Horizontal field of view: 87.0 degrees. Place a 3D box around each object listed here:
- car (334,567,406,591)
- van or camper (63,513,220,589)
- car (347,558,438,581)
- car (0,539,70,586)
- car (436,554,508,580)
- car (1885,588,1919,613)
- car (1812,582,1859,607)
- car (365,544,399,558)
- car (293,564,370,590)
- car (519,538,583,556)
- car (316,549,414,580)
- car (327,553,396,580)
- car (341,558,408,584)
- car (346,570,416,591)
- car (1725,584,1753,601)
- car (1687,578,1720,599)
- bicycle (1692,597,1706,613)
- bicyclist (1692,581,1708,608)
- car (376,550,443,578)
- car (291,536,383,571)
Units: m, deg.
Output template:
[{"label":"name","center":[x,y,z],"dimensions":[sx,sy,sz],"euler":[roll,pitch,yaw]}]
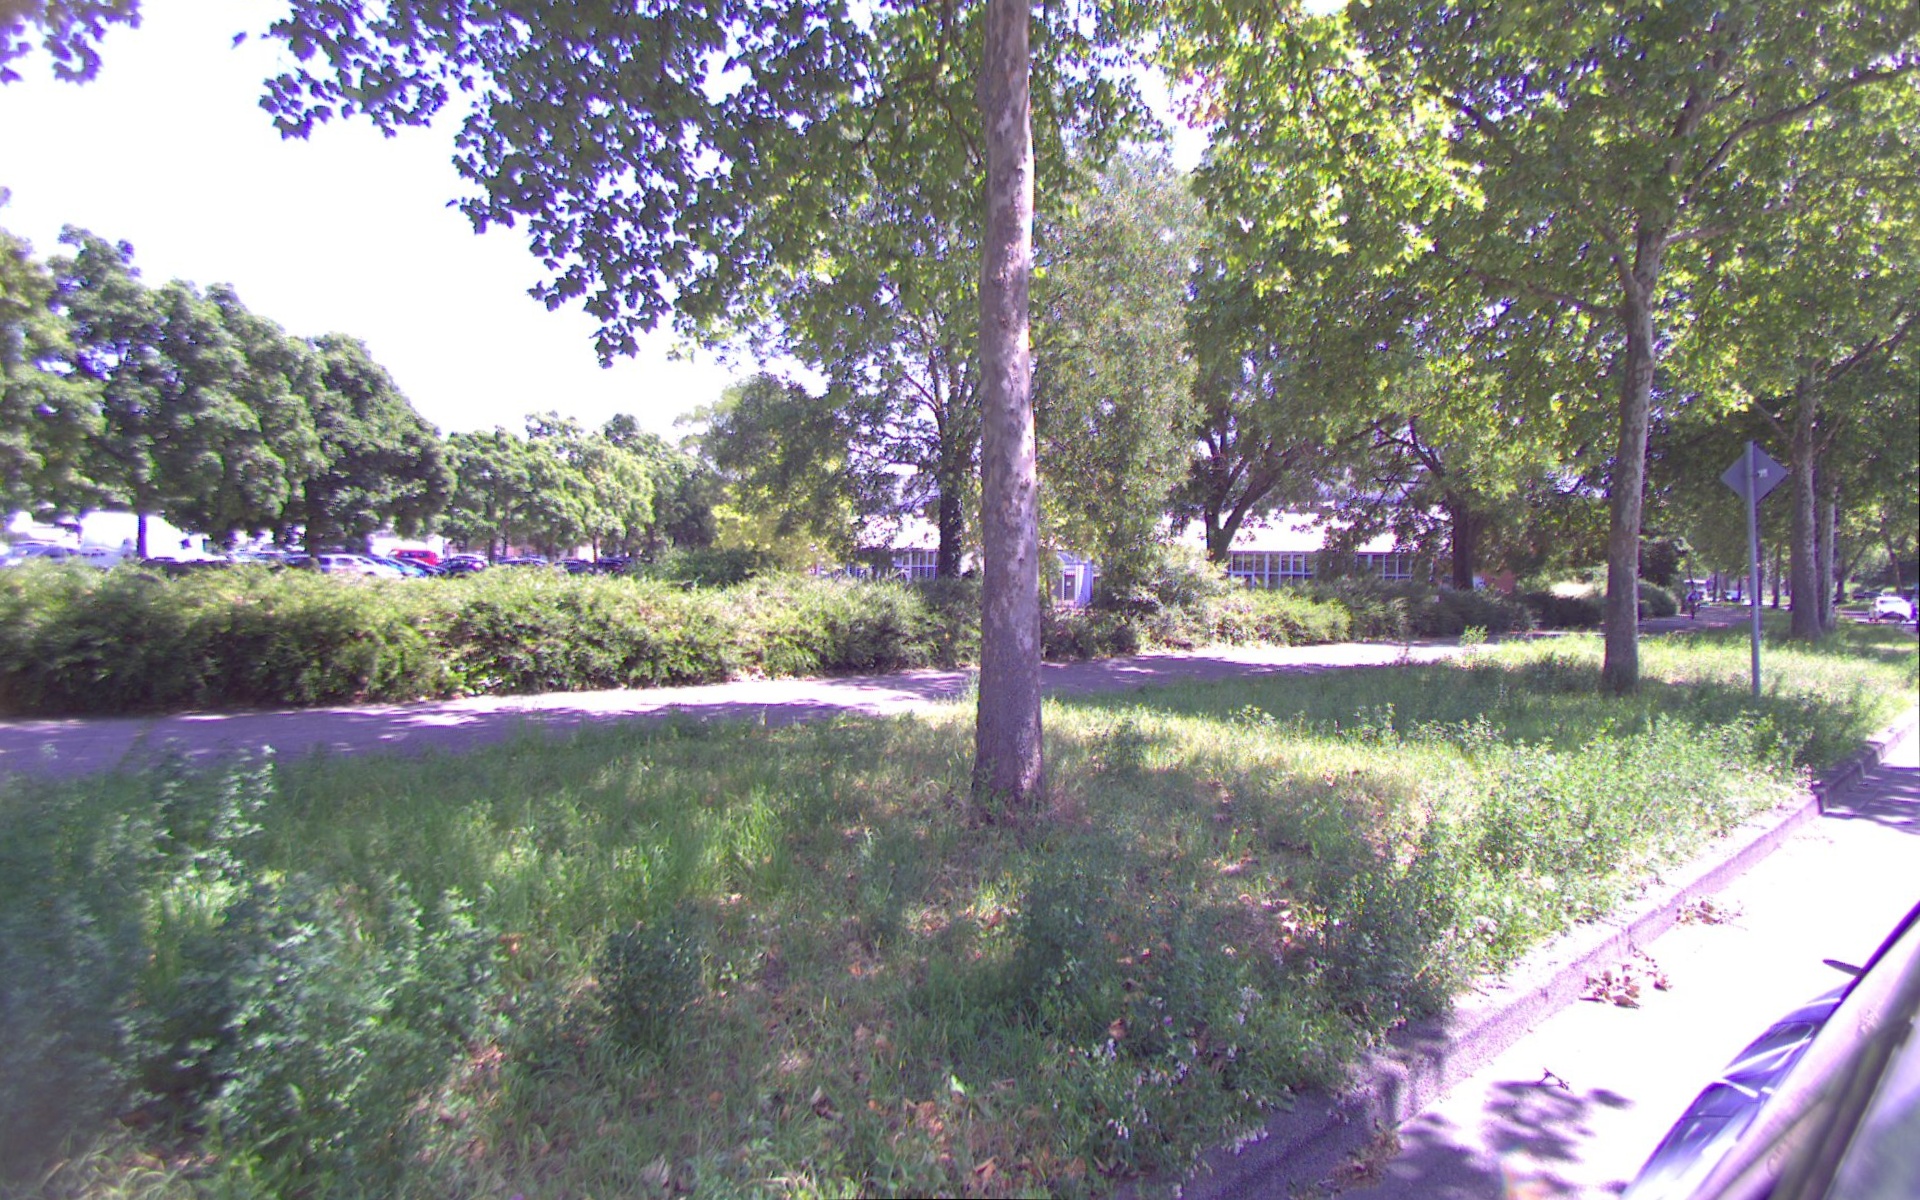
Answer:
[{"label":"car","center":[-25.581,-0.900,43.912],"dimensions":[2.547,0.999,0.955],"euler":[1,1,-8]},{"label":"van or camper","center":[-32.485,-1.916,40.398],"dimensions":[2.161,2.785,5.131],"euler":[1,2,0]},{"label":"car","center":[-27.496,-1.463,49.130],"dimensions":[3.494,1.047,1.685],"euler":[1,2,-8]},{"label":"car","center":[-36.520,-1.432,38.429],"dimensions":[1.919,1.739,4.073],"euler":[1,1,-1]},{"label":"car","center":[-27.943,-1.900,58.029],"dimensions":[3.357,1.383,1.720],"euler":[1,1,-8]},{"label":"car","center":[57.096,0.031,61.159],"dimensions":[1.617,1.463,3.598],"euler":[2,1,40]},{"label":"car","center":[71.621,-0.481,82.827],"dimensions":[1.981,1.905,3.962],"euler":[2,1,28]},{"label":"car","center":[-70.061,-5.928,122.718],"dimensions":[1.433,1.638,3.326],"euler":[2,2,35]},{"label":"car","center":[-26.303,-0.955,42.398],"dimensions":[2.547,1.049,0.955],"euler":[1,1,-8]},{"label":"car","center":[-62.574,-8.095,154.920],"dimensions":[8.647,2.620,3.054],"euler":[1,1,-9]},{"label":"car","center":[-27.328,-1.623,46.589],"dimensions":[3.501,1.241,1.622],"euler":[3,0,-8]},{"label":"car","center":[-27.546,-1.540,46.624],"dimensions":[2.547,1.141,1.008],"euler":[1,1,-8]},{"label":"car","center":[-27.689,-1.379,47.889],"dimensions":[2.547,1.141,0.955],"euler":[1,1,-8]},{"label":"car","center":[-25.840,-0.876,45.211],"dimensions":[2.547,0.852,0.955],"euler":[1,1,-8]},{"label":"car","center":[87.902,-0.836,114.261],"dimensions":[1.984,1.816,3.956],"euler":[2,1,31]},{"label":"car","center":[98.035,-1.554,133.505],"dimensions":[2.898,2.687,6.295],"euler":[2,2,32]},{"label":"bicycle","center":[37.286,0.225,51.043],"dimensions":[0.463,0.773,1.644],"euler":[2,1,39]},{"label":"bicyclist","center":[37.322,-0.267,51.035],"dimensions":[0.598,1.355,0.656],"euler":[2,1,40]},{"label":"car","center":[-40.895,-2.678,75.225],"dimensions":[3.919,2.039,1.970],"euler":[0,1,-6]},{"label":"car","center":[-38.797,-2.903,63.149],"dimensions":[4.334,2.039,2.249],"euler":[1,1,-5]}]
